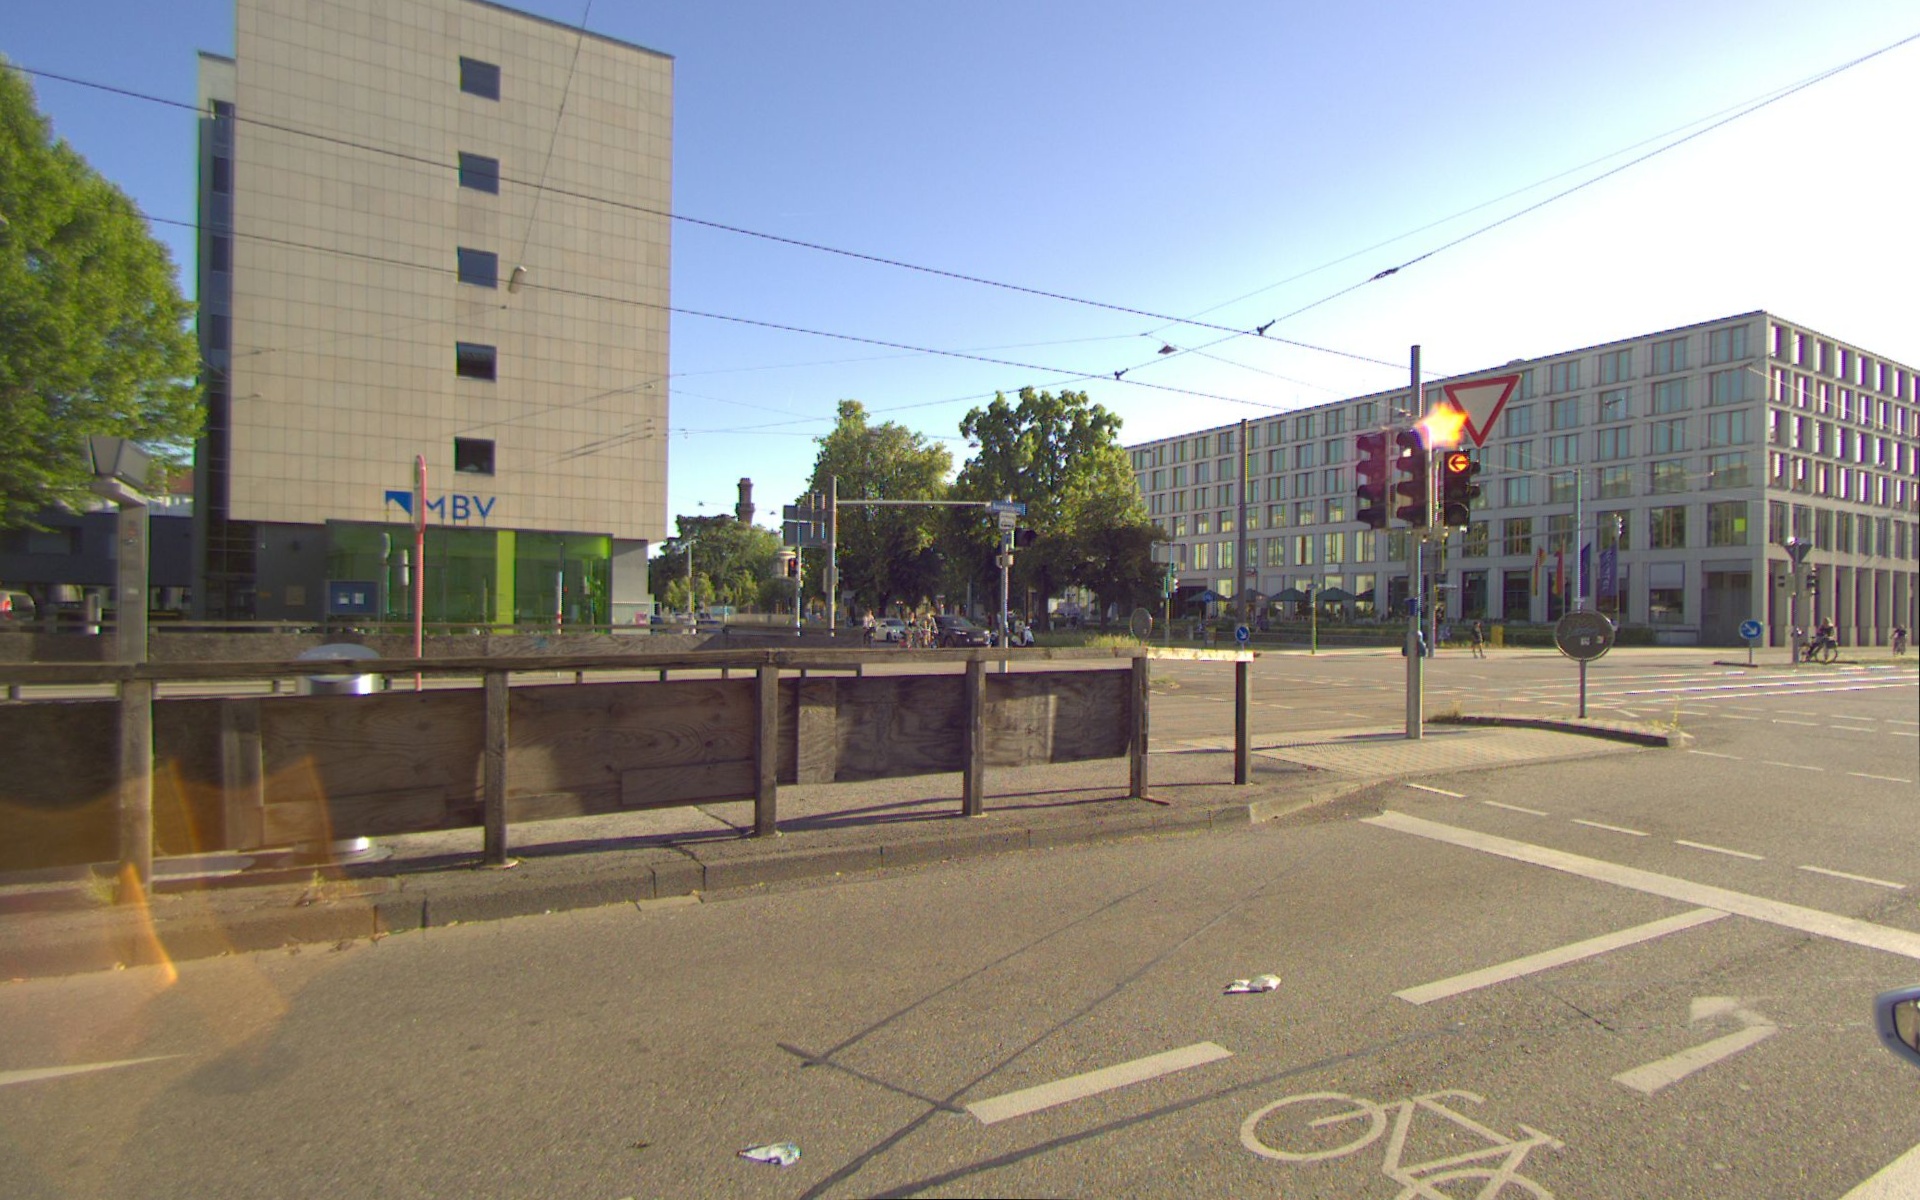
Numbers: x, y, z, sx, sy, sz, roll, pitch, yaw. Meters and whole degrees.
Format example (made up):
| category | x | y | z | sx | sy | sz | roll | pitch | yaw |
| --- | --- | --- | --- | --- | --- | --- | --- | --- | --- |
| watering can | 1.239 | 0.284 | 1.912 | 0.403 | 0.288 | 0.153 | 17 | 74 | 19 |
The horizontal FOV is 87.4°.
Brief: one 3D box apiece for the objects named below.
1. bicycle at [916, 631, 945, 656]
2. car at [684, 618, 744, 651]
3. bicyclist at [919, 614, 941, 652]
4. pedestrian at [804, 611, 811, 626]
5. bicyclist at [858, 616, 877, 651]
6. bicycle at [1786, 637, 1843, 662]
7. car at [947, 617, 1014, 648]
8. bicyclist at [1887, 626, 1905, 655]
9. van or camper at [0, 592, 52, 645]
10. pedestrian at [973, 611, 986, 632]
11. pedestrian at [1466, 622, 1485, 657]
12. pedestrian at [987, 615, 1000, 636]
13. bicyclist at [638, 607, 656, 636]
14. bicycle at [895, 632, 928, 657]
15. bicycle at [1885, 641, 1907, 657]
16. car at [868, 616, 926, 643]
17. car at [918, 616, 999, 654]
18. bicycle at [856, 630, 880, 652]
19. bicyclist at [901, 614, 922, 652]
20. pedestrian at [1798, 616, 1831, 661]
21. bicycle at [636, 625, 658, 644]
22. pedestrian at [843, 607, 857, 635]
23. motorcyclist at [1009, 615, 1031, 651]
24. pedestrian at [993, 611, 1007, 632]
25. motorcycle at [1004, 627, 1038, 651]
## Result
| category | x | y | z | sx | sy | sz | roll | pitch | yaw |
| --- | --- | --- | --- | --- | --- | --- | --- | --- | --- |
| bicycle | -1.261 | 1.816 | 42.384 | 0.576 | 1.032 | 1.666 | 1 | -1 | -27 |
| car | -12.546 | 1.733 | 51.022 | 1.975 | 1.472 | 4.179 | 2 | 0 | -28 |
| bicyclist | -1.267 | 1.383 | 42.419 | 0.576 | 1.563 | 0.890 | 1 | -1 | -27 |
| pedestrian | -18.481 | 2.274 | 121.897 | 0.758 | 1.829 | 0.623 | 2 | 0 | -8 |
| bicyclist | -4.431 | 1.615 | 48.007 | 0.576 | 1.658 | 0.890 | 1 | -1 | -27 |
| bicycle | 31.073 | 1.789 | 36.562 | 0.562 | 0.834 | 1.718 | 1 | -1 | -2 |
| car | 1.025 | 1.659 | 52.210 | 1.674 | 1.506 | 3.719 | 1 | -1 | -33 |
| bicyclist | 49.081 | 2.104 | 52.688 | 0.658 | 1.518 | 0.492 | 1 | -1 | -28 |
| van or camper | -27.883 | 0.437 | 27.568 | 3.954 | 1.425 | 1.954 | 4 | -3 | -30 |
| pedestrian | 1.664 | 1.797 | 85.459 | 0.858 | 1.738 | 0.737 | 2 | 0 | -26 |
| pedestrian | 24.970 | 1.916 | 48.667 | 0.597 | 1.703 | 0.602 | 1 | -1 | -22 |
| pedestrian | 2.949 | 2.237 | 87.711 | 0.858 | 1.738 | 0.737 | 2 | 0 | -26 |
| bicyclist | -17.306 | 1.190 | 55.488 | 0.802 | 1.623 | 0.677 | 1 | -1 | -29 |
| bicycle | -2.032 | 1.848 | 42.022 | 0.577 | 1.032 | 1.806 | 1 | -3 | -31 |
| bicycle | 49.078 | 2.561 | 52.686 | 1.142 | 0.850 | 0.492 | 1 | -1 | -28 |
| car | -3.798 | 1.731 | 59.759 | 1.975 | 1.537 | 3.971 | 1 | -1 | -28 |
| car | -0.121 | 1.531 | 44.530 | 1.925 | 1.561 | 3.969 | 2 | -2 | -29 |
| bicycle | -4.421 | 1.950 | 47.976 | 0.576 | 1.032 | 1.666 | 1 | -1 | -27 |
| bicyclist | -2.027 | 1.370 | 42.019 | 0.577 | 1.563 | 0.833 | 1 | -2 | -32 |
| pedestrian | 31.076 | 1.393 | 36.553 | 0.562 | 1.616 | 0.744 | 1 | -1 | -3 |
| bicycle | -17.309 | 1.906 | 55.535 | 0.802 | 1.047 | 2.111 | 1 | -1 | -28 |
| pedestrian | -8.148 | 1.557 | 74.139 | 0.772 | 2.040 | 0.747 | 1 | -1 | -31 |
| motorcyclist | 2.813 | 1.540 | 46.989 | 0.624 | 1.601 | 0.812 | -3 | 1 | -28 |
| pedestrian | 3.387 | 1.847 | 84.879 | 0.858 | 1.738 | 0.737 | 2 | 0 | -26 |
| motorcycle | 2.853 | 1.822 | 46.958 | 0.624 | 1.030 | 1.972 | -3 | 1 | -28 |
